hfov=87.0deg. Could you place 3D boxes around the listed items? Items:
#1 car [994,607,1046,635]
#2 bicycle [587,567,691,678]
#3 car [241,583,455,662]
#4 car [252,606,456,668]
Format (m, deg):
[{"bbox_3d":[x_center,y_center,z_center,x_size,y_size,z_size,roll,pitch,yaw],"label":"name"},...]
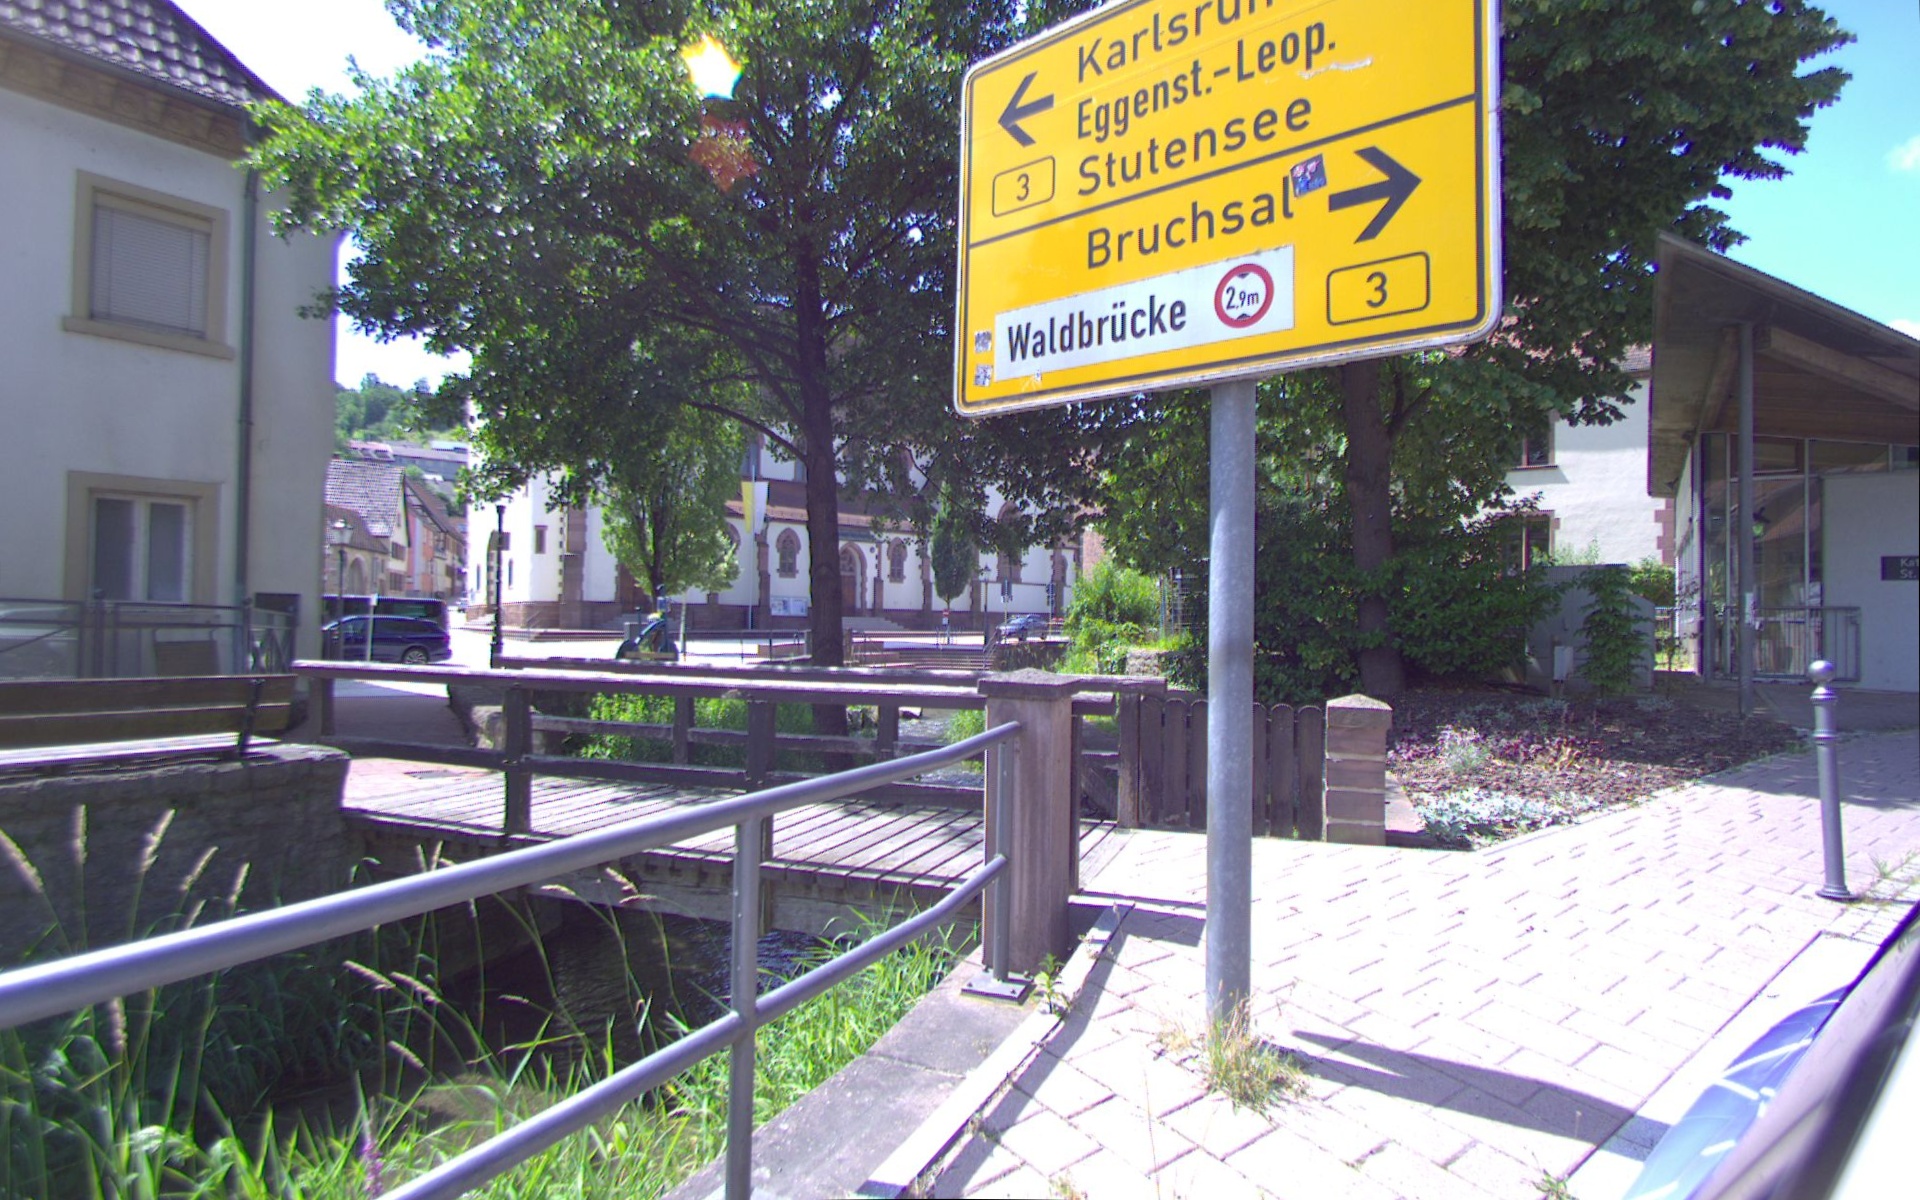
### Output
[{"bbox_3d":[3.483,1.202,57.993,1.653,1.524,3.776,-1,-1,26],"label":"car"},{"bbox_3d":[-6.362,0.438,20.271,0.770,2.039,2.658,-3,-2,10],"label":"bicycle"},{"bbox_3d":[-17.806,0.691,29.584,5.031,2.053,1.957,4,-2,-40],"label":"car"},{"bbox_3d":[-16.219,1.020,27.223,4.459,1.501,1.587,4,-2,-40],"label":"car"}]
